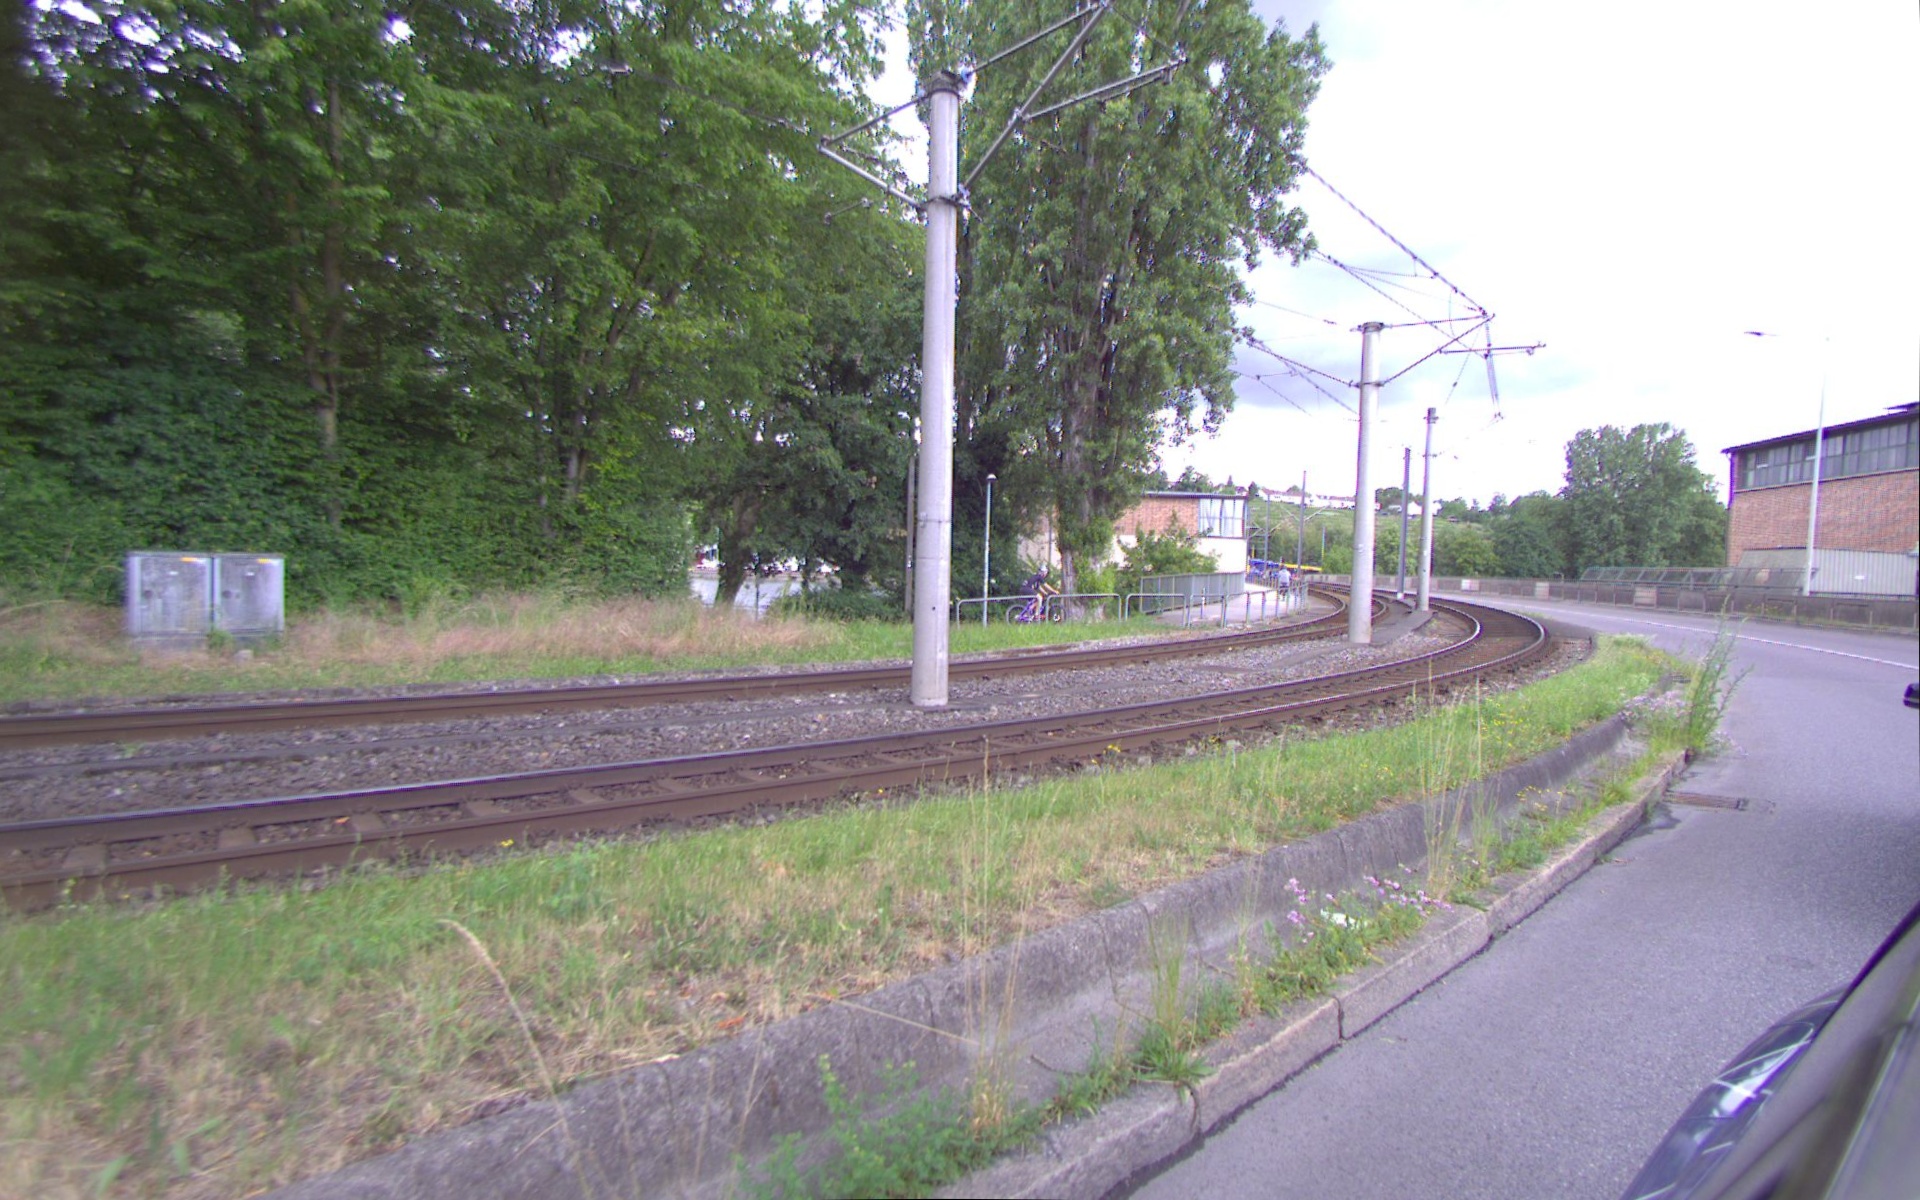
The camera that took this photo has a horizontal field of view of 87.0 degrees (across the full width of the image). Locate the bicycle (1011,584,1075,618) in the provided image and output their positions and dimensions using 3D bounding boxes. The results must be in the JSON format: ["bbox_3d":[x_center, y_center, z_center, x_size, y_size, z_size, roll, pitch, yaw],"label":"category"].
[{"bbox_3d":[2.035,0.025,24.916,1.516,0.804,0.349,1,1,-9],"label":"bicycle"}]

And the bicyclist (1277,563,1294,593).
[{"bbox_3d":[14.927,-1.000,46.401,0.589,1.377,0.902,1,1,26],"label":"bicyclist"}]

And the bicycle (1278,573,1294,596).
[{"bbox_3d":[14.953,-0.710,46.422,0.423,1.063,2.061,1,1,26],"label":"bicycle"}]

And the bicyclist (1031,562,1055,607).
[{"bbox_3d":[2.044,-0.389,24.898,0.465,1.097,0.418,1,1,-8],"label":"bicyclist"}]

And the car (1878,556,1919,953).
[{"bbox_3d":[5.988,0.646,4.837,3.930,1.641,1.860,-1,3,-41],"label":"car"}]
